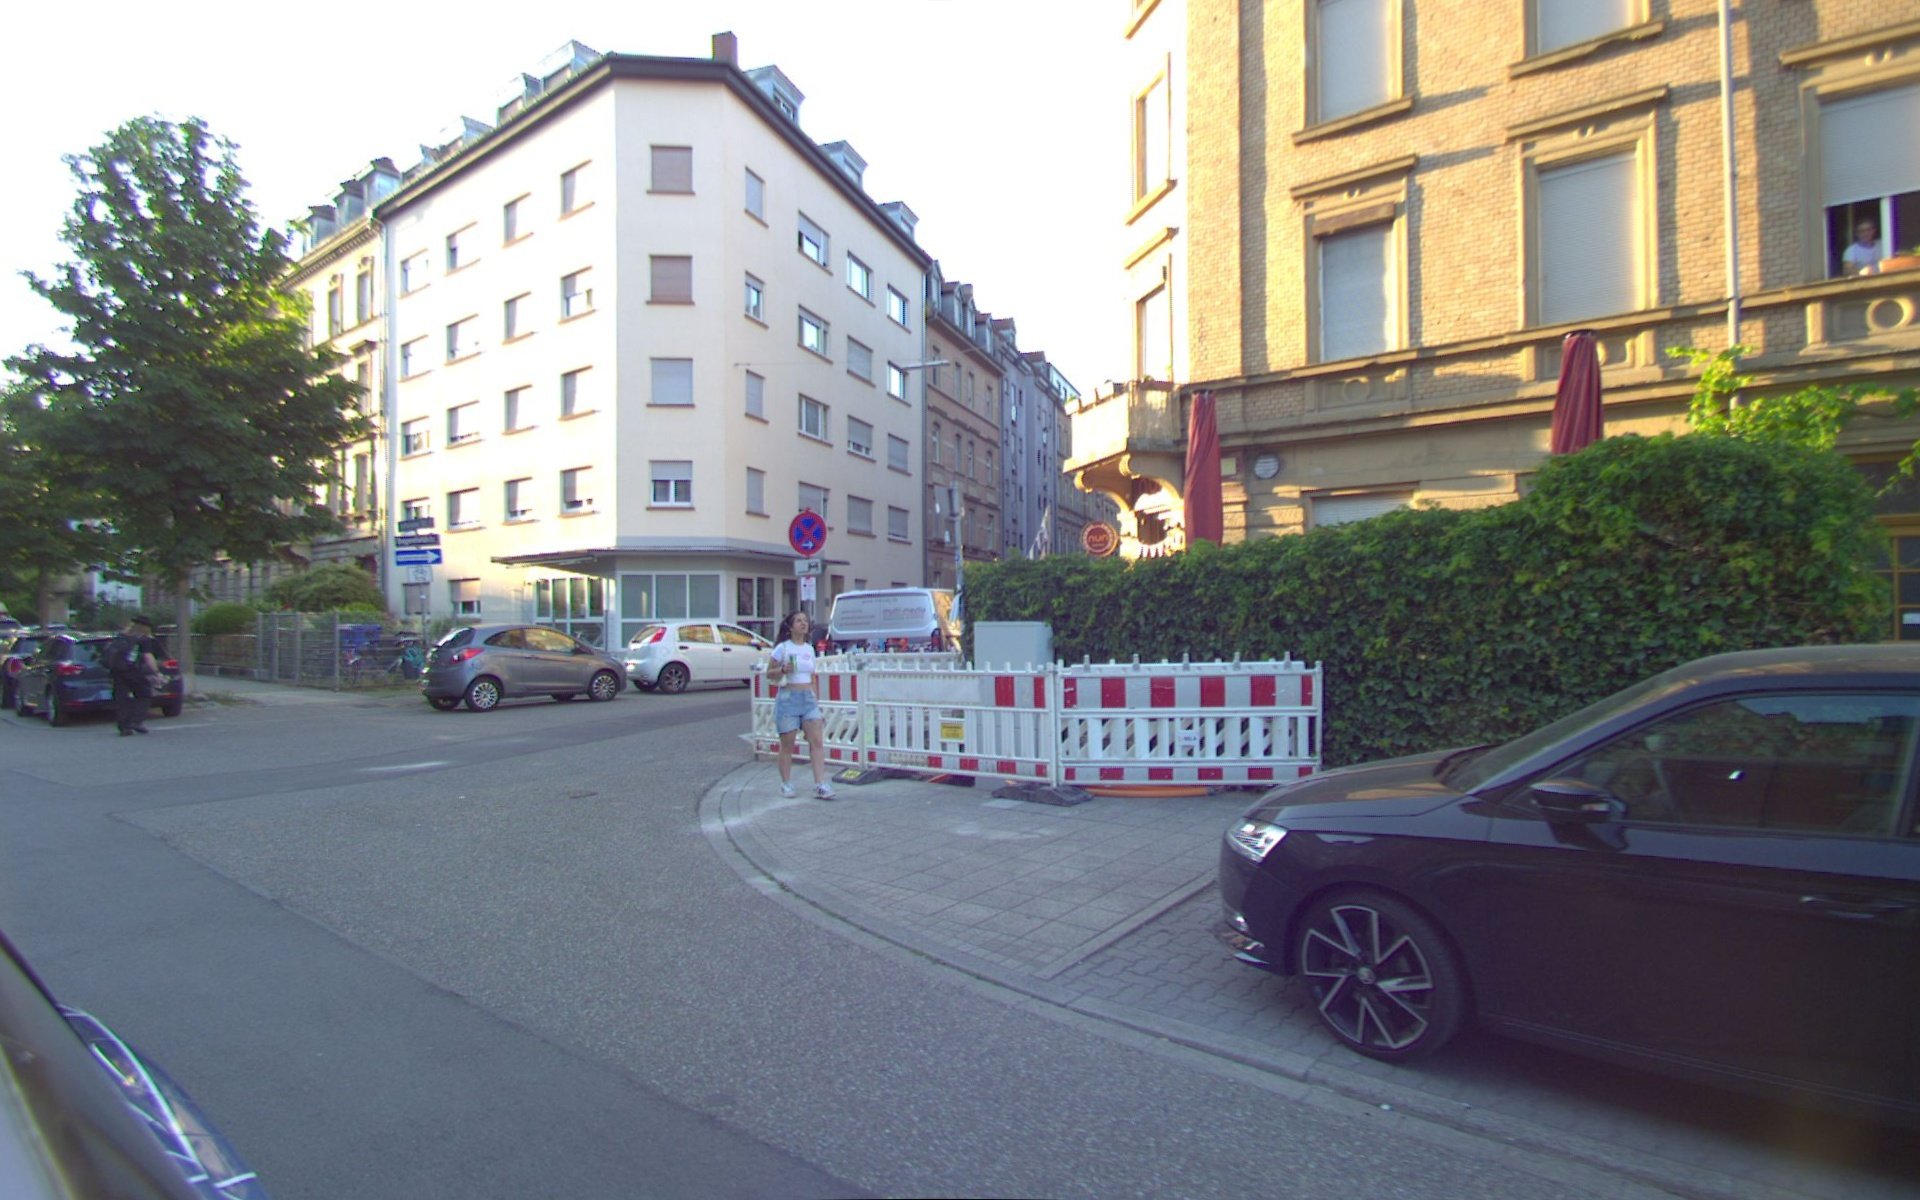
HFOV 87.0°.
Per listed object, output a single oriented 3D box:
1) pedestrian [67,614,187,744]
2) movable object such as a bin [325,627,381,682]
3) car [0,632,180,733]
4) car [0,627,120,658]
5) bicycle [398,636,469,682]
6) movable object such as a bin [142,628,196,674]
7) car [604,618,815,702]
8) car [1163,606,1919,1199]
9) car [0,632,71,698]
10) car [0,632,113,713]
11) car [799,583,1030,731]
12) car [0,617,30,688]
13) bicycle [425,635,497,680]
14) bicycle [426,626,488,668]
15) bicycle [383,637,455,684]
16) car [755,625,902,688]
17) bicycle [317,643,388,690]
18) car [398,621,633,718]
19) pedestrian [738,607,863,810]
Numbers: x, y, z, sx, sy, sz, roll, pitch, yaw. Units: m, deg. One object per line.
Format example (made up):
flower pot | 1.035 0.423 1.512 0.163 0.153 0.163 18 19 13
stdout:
pedestrian | -11.740 1.085 14.293 0.879 1.735 0.958 -1 0 0
movable object such as a bin | -15.928 1.399 26.538 1.398 1.362 0.857 -1 0 41
car | -15.117 1.313 17.386 4.457 1.472 1.659 -1 -1 38
car | -45.221 2.103 50.907 1.624 1.351 4.357 -1 -1 40
bicycle | -13.333 1.478 25.634 1.528 1.100 0.500 -1 0 2
movable object such as a bin | -24.770 1.580 31.685 1.548 1.398 0.937 -1 0 36
car | -5.407 1.224 22.043 4.008 1.520 1.977 -1 0 -39
car | 2.814 0.801 3.409 3.841 1.546 1.686 -1 -1 40
car | -22.697 1.485 23.869 4.585 1.423 1.844 -1 -1 39
car | -18.730 1.400 20.584 4.141 1.431 1.723 -1 -1 42
car | -0.492 0.842 16.508 2.189 1.990 5.266 -1 -2 16
car | -26.561 1.391 27.052 4.617 1.792 1.844 -1 -1 39
bicycle | -12.845 1.483 26.062 1.689 1.100 0.385 -1 0 3
bicycle | -14.271 1.328 28.762 0.499 1.100 1.531 -1 0 33
bicycle | -13.425 1.500 25.119 1.528 1.100 0.500 -1 0 2
car | -3.259 1.393 25.874 1.985 1.450 4.048 -2 -2 22
bicycle | -14.409 1.551 23.972 1.927 1.033 0.681 -1 0 34
car | -7.983 1.182 18.376 1.842 1.519 3.472 -3 -2 38
pedestrian | -1.374 0.885 8.711 0.787 1.630 0.702 -2 0 43
